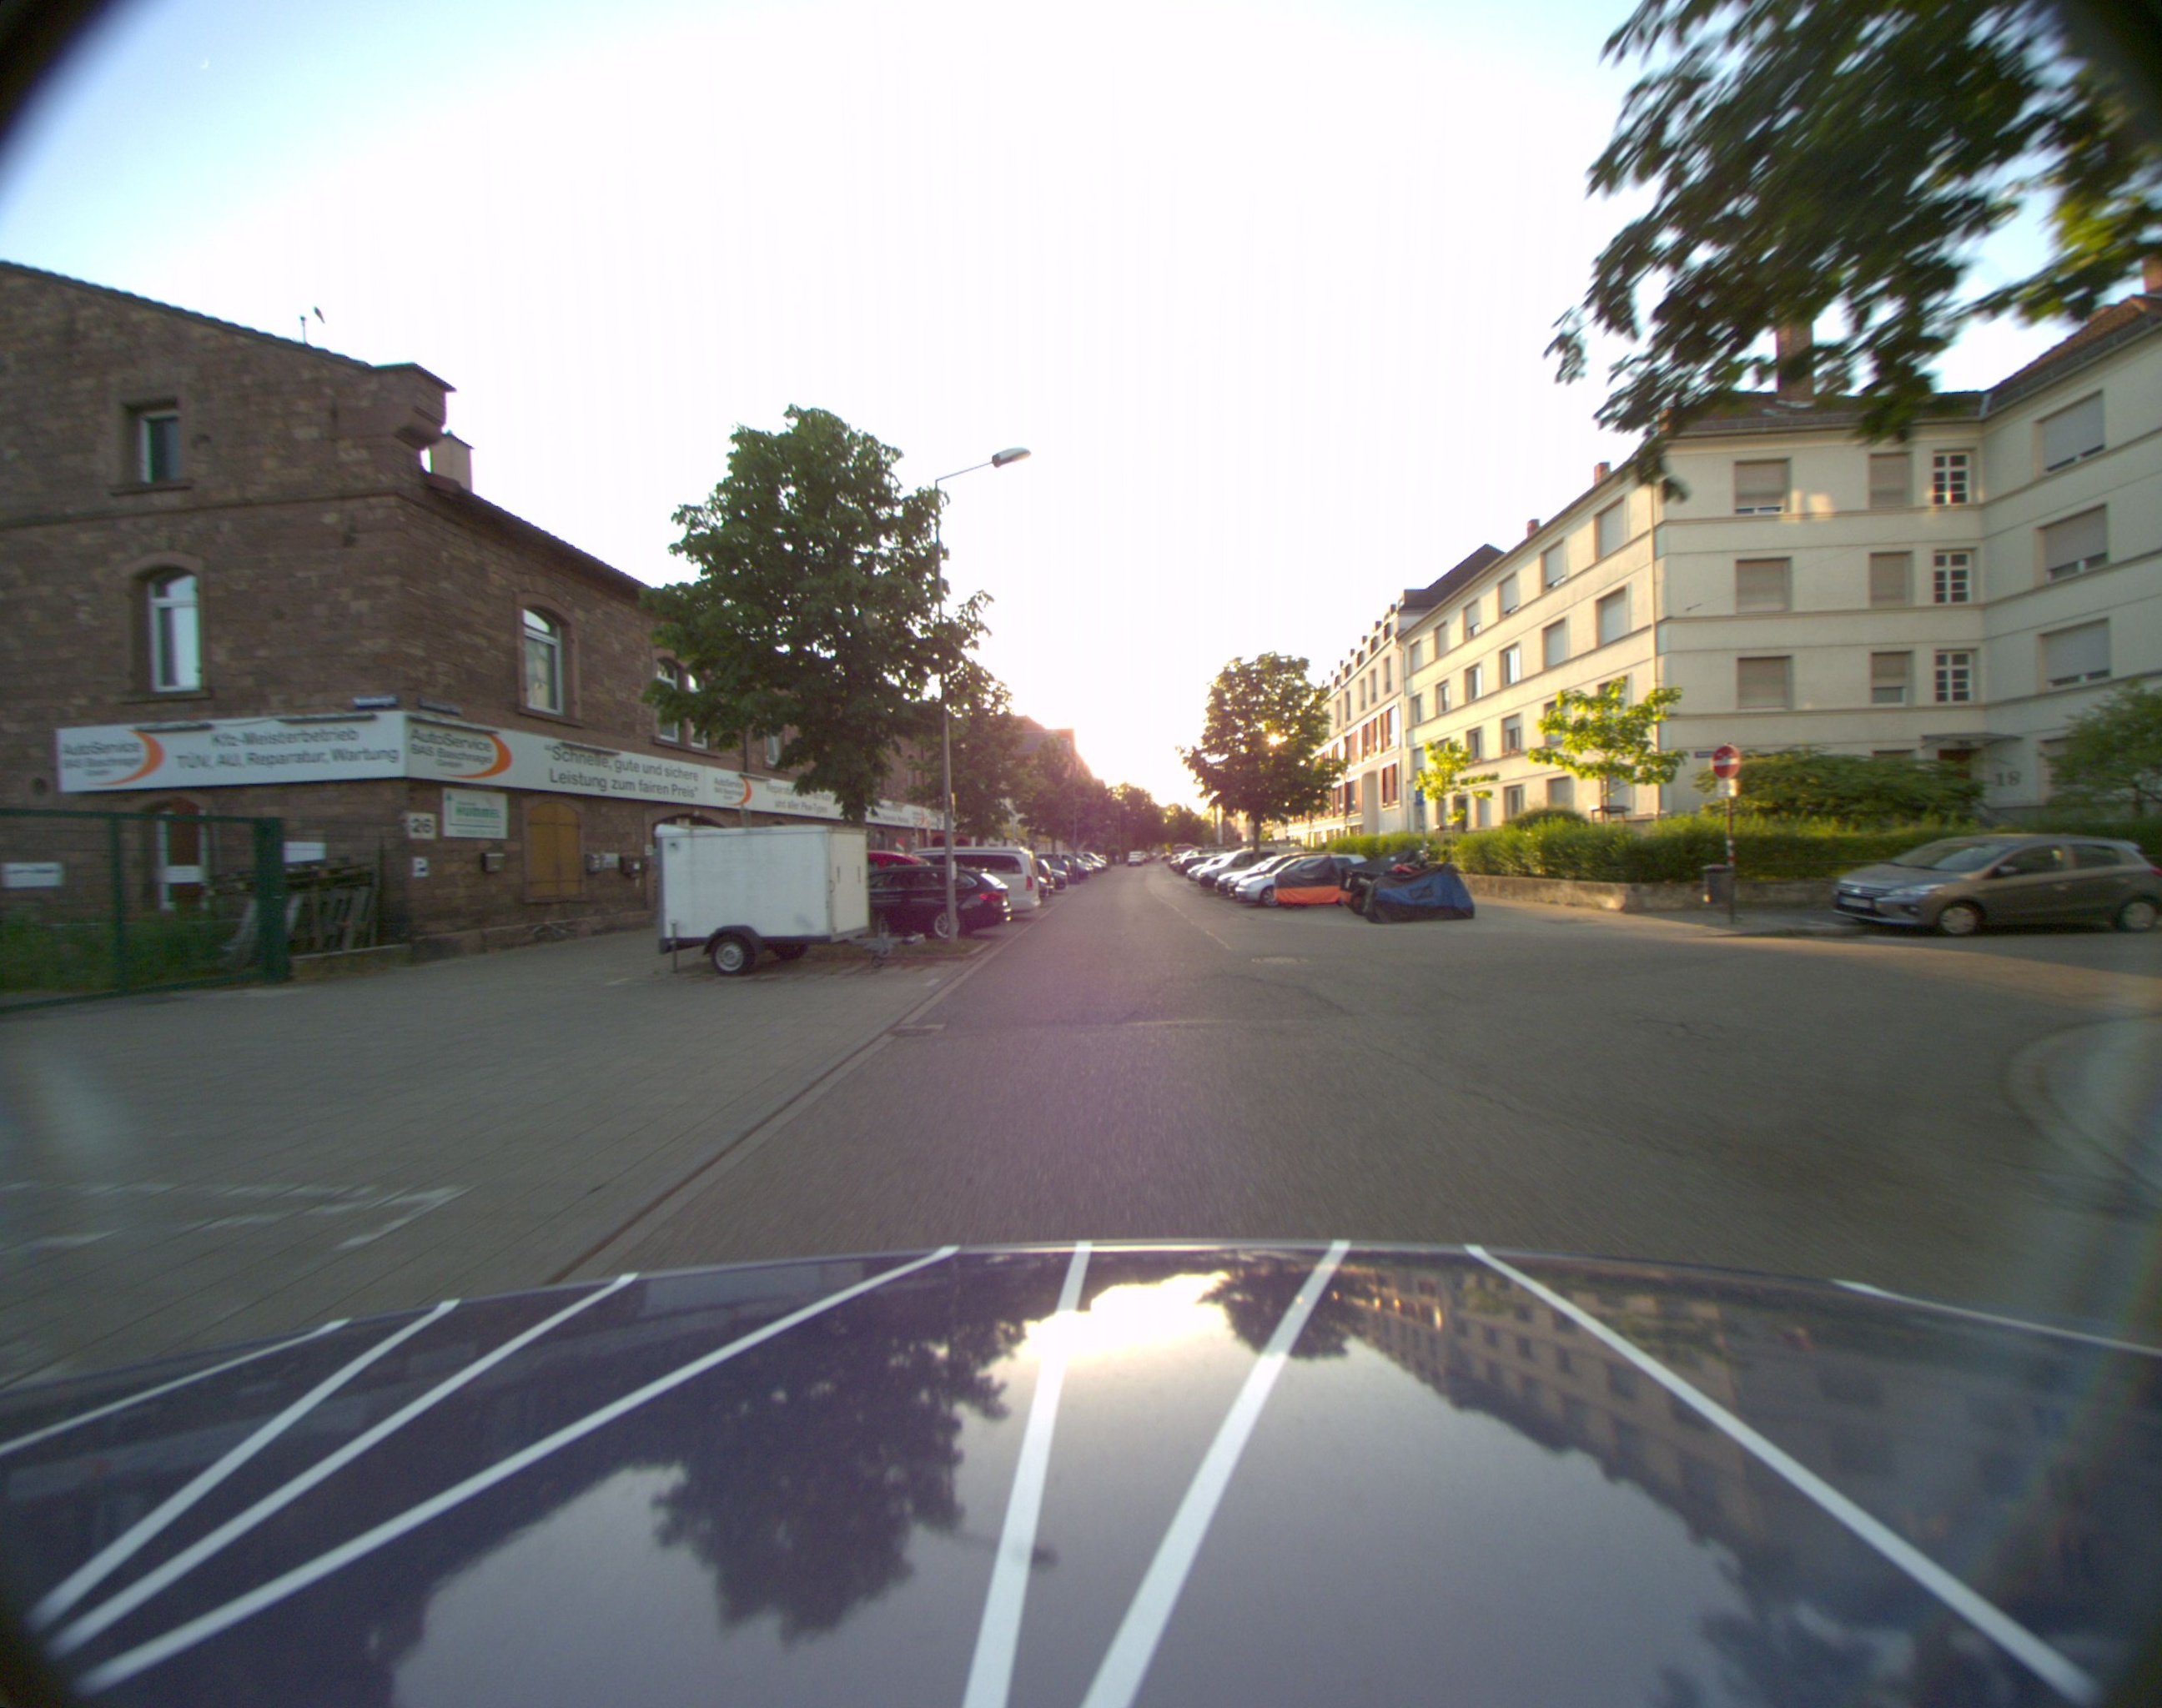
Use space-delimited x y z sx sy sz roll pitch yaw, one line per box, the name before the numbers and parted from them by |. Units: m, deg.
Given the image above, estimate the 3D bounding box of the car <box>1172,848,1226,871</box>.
car | 9.011 0.411 58.251 3.893 1.484 1.654 -3 1 2

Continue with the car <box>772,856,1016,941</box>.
car | -3.696 0.876 15.510 4.437 1.490 1.774 -2 1 3

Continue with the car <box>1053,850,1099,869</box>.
car | -0.430 0.466 65.517 3.793 1.488 1.681 1 1 4

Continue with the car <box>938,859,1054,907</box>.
car | -3.047 1.047 27.948 3.955 1.556 1.821 -2 1 2

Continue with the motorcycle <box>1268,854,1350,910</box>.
motorcycle | 6.214 0.745 20.788 1.991 1.428 0.721 -2 1 -1

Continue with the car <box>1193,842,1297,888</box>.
car | 7.524 0.499 35.224 4.430 1.791 1.944 -3 0 6

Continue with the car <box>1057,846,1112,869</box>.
car | 0.406 0.325 73.658 4.969 2.089 2.152 -2 2 9

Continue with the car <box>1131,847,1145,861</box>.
car | 8.006 -0.040 107.284 1.938 1.893 4.056 -2 0 4

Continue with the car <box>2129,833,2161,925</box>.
car | 19.217 0.357 11.725 3.467 1.483 1.728 -2 1 5

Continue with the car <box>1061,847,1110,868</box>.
car | 0.473 0.325 70.971 4.300 1.847 2.001 1 1 8

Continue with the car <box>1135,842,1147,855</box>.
car | 10.084 -0.932 127.655 1.998 2.002 4.001 -2 0 4

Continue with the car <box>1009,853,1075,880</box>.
car | -2.458 0.806 48.650 3.995 1.537 1.845 2 1 4

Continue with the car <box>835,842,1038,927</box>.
car | -3.292 0.683 17.931 4.310 1.789 1.904 -2 1 3

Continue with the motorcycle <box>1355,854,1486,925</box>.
motorcycle | 7.276 0.748 16.387 2.387 1.428 0.881 -2 1 7

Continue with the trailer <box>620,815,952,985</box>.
trailer | -4.180 0.634 11.211 3.995 2.175 2.001 -2 1 6

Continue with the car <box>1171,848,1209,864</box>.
car | 11.593 0.221 80.786 3.956 1.531 1.756 -2 1 8

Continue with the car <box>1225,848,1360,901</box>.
car | 6.881 0.662 25.009 3.995 1.574 1.729 -2 1 6

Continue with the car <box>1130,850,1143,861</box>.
car | 7.385 0.128 101.476 1.732 1.367 3.764 -2 0 4

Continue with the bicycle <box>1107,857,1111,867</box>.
bicycle | 2.944 0.809 80.325 0.357 1.018 1.972 -2 0 4

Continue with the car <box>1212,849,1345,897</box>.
car | 7.044 0.658 27.496 4.335 1.397 1.852 -4 0 6

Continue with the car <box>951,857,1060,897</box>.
car | -3.229 0.971 33.094 4.424 1.565 1.982 2 0 3

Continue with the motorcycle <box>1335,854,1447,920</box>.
motorcycle | 7.099 0.748 17.480 2.235 1.428 0.774 -2 1 7

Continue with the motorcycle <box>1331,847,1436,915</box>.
motorcycle | 7.413 0.651 18.687 2.235 1.573 0.774 -2 1 7

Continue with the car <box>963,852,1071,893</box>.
car | -2.949 0.852 35.708 4.797 1.743 2.018 2 0 3

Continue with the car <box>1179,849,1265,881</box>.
car | 7.856 0.609 42.581 4.418 1.443 1.828 -4 0 3

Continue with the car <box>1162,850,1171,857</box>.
car | 18.533 -0.181 164.742 1.761 1.478 3.784 0 1 4

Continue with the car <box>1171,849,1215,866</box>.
car | 11.089 0.357 75.641 4.271 1.485 1.789 -2 1 6

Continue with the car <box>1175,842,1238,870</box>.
car | 9.980 0.165 60.721 4.864 2.043 2.001 -2 1 8

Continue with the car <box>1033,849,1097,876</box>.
car | -1.178 0.637 58.355 4.596 1.851 2.013 3 1 6

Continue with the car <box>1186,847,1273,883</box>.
car | 7.744 0.551 40.062 4.253 1.611 1.814 -3 0 5

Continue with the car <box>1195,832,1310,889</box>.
car | 7.253 0.288 32.572 4.521 2.058 2.001 -5 -1 7

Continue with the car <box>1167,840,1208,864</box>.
car | 12.022 -0.284 85.915 4.410 2.542 1.932 -2 1 7

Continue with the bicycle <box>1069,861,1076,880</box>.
bicycle | -0.555 1.076 50.670 0.309 1.185 1.763 -2 1 4

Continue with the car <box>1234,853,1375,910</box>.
car | 6.505 0.783 22.441 3.721 1.497 1.690 -2 1 5

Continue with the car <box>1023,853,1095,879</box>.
car | -1.498 0.798 53.266 4.704 1.622 2.001 2 1 6

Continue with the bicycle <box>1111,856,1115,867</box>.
bicycle | 3.346 0.773 80.306 0.357 1.093 1.972 -2 0 4

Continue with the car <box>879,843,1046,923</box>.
car | -3.056 0.734 20.229 3.996 1.893 2.000 -2 1 3

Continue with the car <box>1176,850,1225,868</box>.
car | 10.723 0.439 68.238 3.998 1.579 2.052 -1 0 -3

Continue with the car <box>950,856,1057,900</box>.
car | -3.059 0.944 30.428 3.996 1.609 1.895 1 1 3

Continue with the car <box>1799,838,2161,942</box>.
car | 14.489 0.546 12.324 3.772 1.456 1.829 -2 1 6

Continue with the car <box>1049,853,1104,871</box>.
car | -0.392 0.706 68.143 4.731 1.487 2.001 0 1 4

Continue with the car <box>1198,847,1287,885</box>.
car | 7.907 0.580 37.499 3.996 1.476 1.756 -5 0 3

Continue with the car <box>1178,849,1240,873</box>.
car | 9.310 0.498 55.483 4.148 1.408 1.738 -4 1 1
